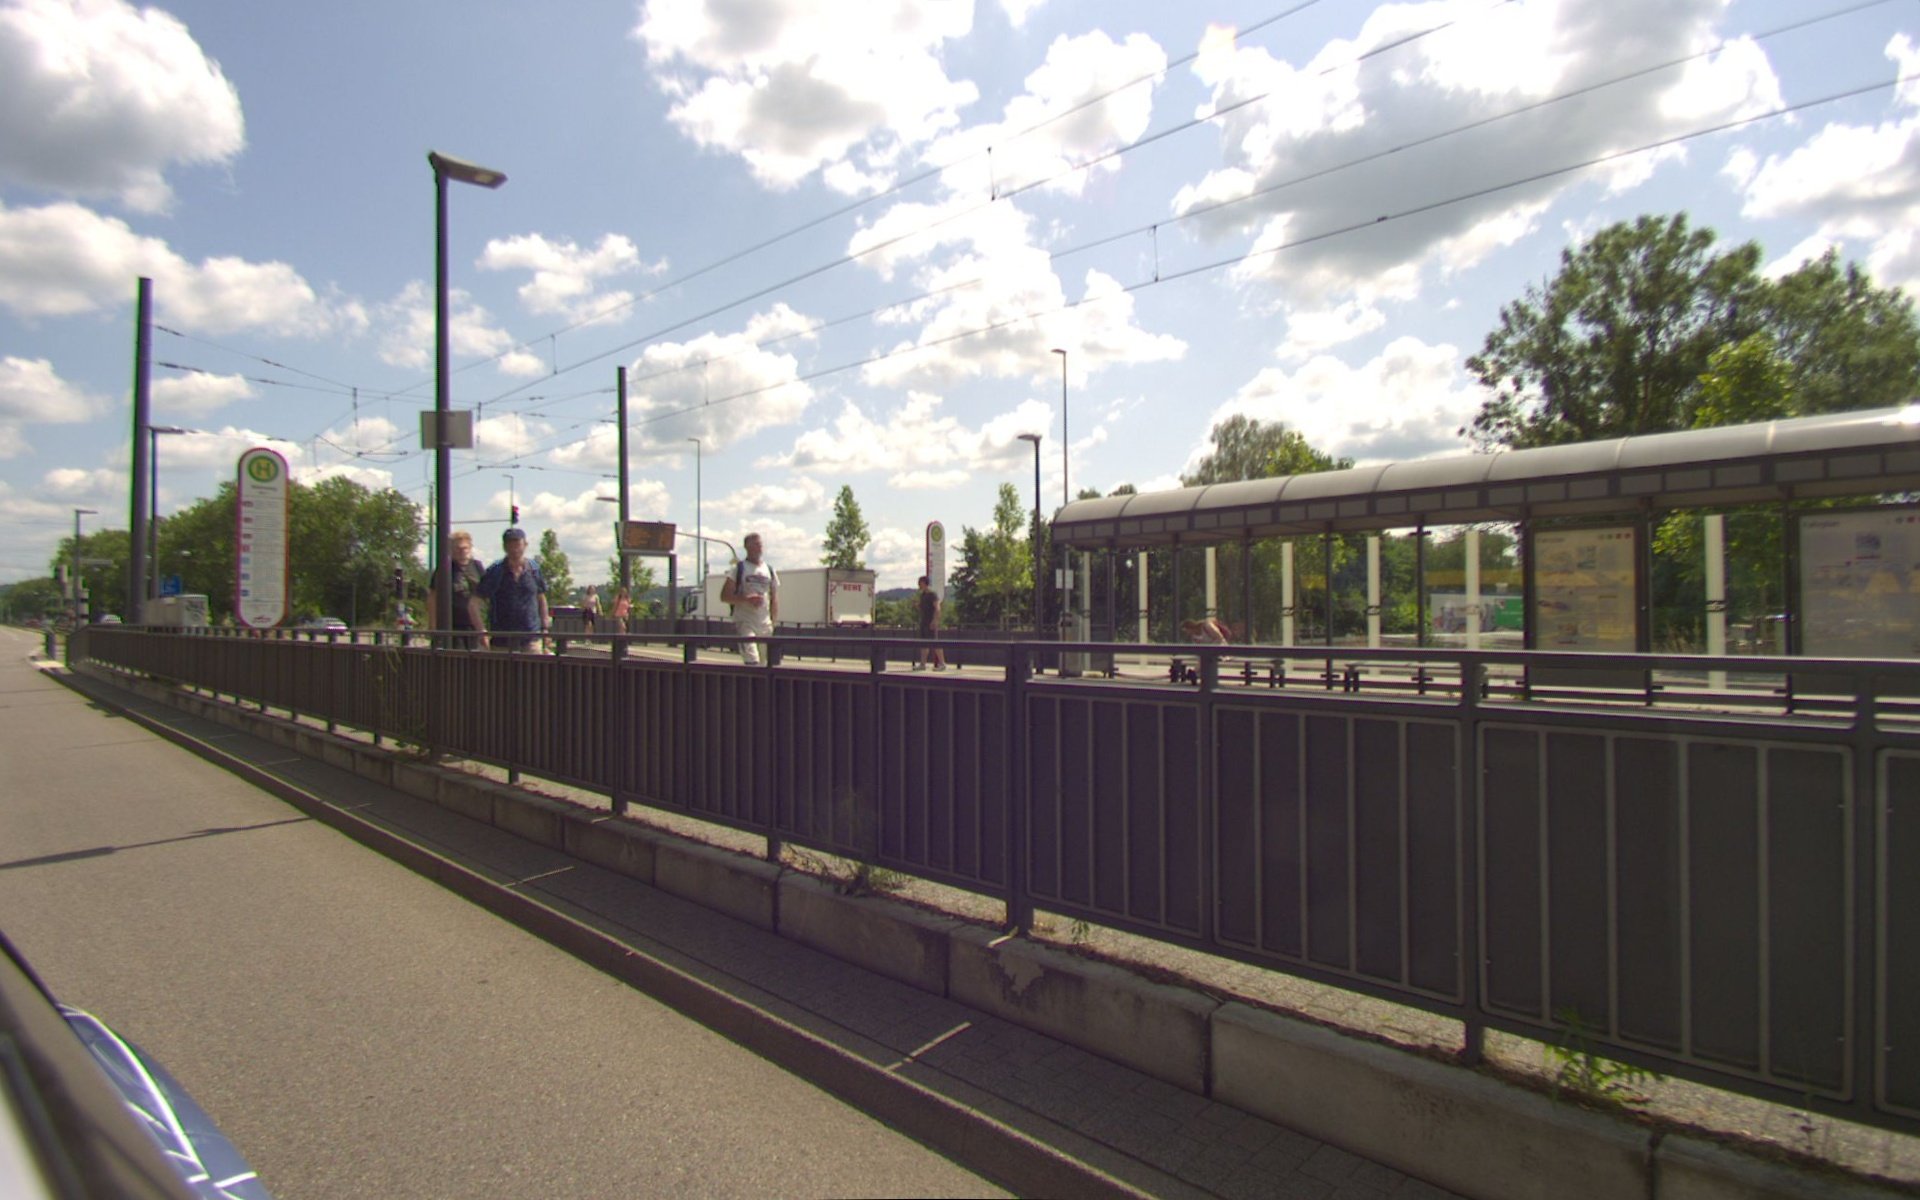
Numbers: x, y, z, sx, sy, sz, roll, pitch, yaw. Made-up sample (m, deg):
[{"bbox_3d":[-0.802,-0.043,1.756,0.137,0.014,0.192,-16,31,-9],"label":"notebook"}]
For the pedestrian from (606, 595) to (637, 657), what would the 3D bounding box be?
[{"bbox_3d":[-9.692,0.744,28.939,0.591,1.734,0.709,0,-2,-41],"label":"pedestrian"}]

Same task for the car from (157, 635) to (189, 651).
[{"bbox_3d":[-88.413,4.786,113.631,4.318,1.671,1.790,-2,-7,39],"label":"car"}]

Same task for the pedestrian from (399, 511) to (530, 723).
[{"bbox_3d":[-4.889,0.174,9.981,0.995,1.954,0.863,-3,-2,45],"label":"pedestrian"}]

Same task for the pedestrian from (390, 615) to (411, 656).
[{"bbox_3d":[-24.559,1.568,44.430,0.662,1.782,0.614,0,-2,-42],"label":"pedestrian"}]

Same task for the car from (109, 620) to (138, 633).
[{"bbox_3d":[-117.038,3.718,141.621,1.965,1.822,5.151,0,-2,-27],"label":"car"}]

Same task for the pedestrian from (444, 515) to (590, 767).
[{"bbox_3d":[-3.375,0.294,7.698,0.725,1.769,0.930,0,-1,-44],"label":"pedestrian"}]

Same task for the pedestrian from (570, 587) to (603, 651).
[{"bbox_3d":[-10.505,0.523,28.446,0.627,1.761,0.679,-2,0,-41],"label":"pedestrian"}]

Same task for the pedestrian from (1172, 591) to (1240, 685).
[{"bbox_3d":[3.921,0.619,16.128,0.787,1.443,0.752,-2,-5,45],"label":"pedestrian"}]

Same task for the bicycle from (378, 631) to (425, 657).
[{"bbox_3d":[-24.529,1.931,44.448,1.696,1.096,0.622,0,-1,-42],"label":"bicycle"}]

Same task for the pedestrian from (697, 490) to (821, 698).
[{"bbox_3d":[-1.877,-0.046,9.419,0.725,1.821,0.930,0,-1,-44],"label":"pedestrian"}]

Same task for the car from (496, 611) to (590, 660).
[{"bbox_3d":[-16.894,1.436,40.882,1.970,1.834,4.670,0,-2,-44],"label":"car"}]

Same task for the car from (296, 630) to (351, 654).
[{"bbox_3d":[-51.495,3.407,81.869,4.647,1.787,1.866,-2,-2,30],"label":"car"}]

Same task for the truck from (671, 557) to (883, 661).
[{"bbox_3d":[-8.560,0.506,45.525,12.000,4.136,2.910,-2,-1,44],"label":"truck"}]

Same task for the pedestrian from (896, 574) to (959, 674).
[{"bbox_3d":[-0.609,0.445,18.944,0.725,1.821,0.930,0,-1,-44],"label":"pedestrian"}]

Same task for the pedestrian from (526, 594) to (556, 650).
[{"bbox_3d":[-12.972,0.678,31.337,0.719,1.734,0.525,0,-2,-40],"label":"pedestrian"}]
